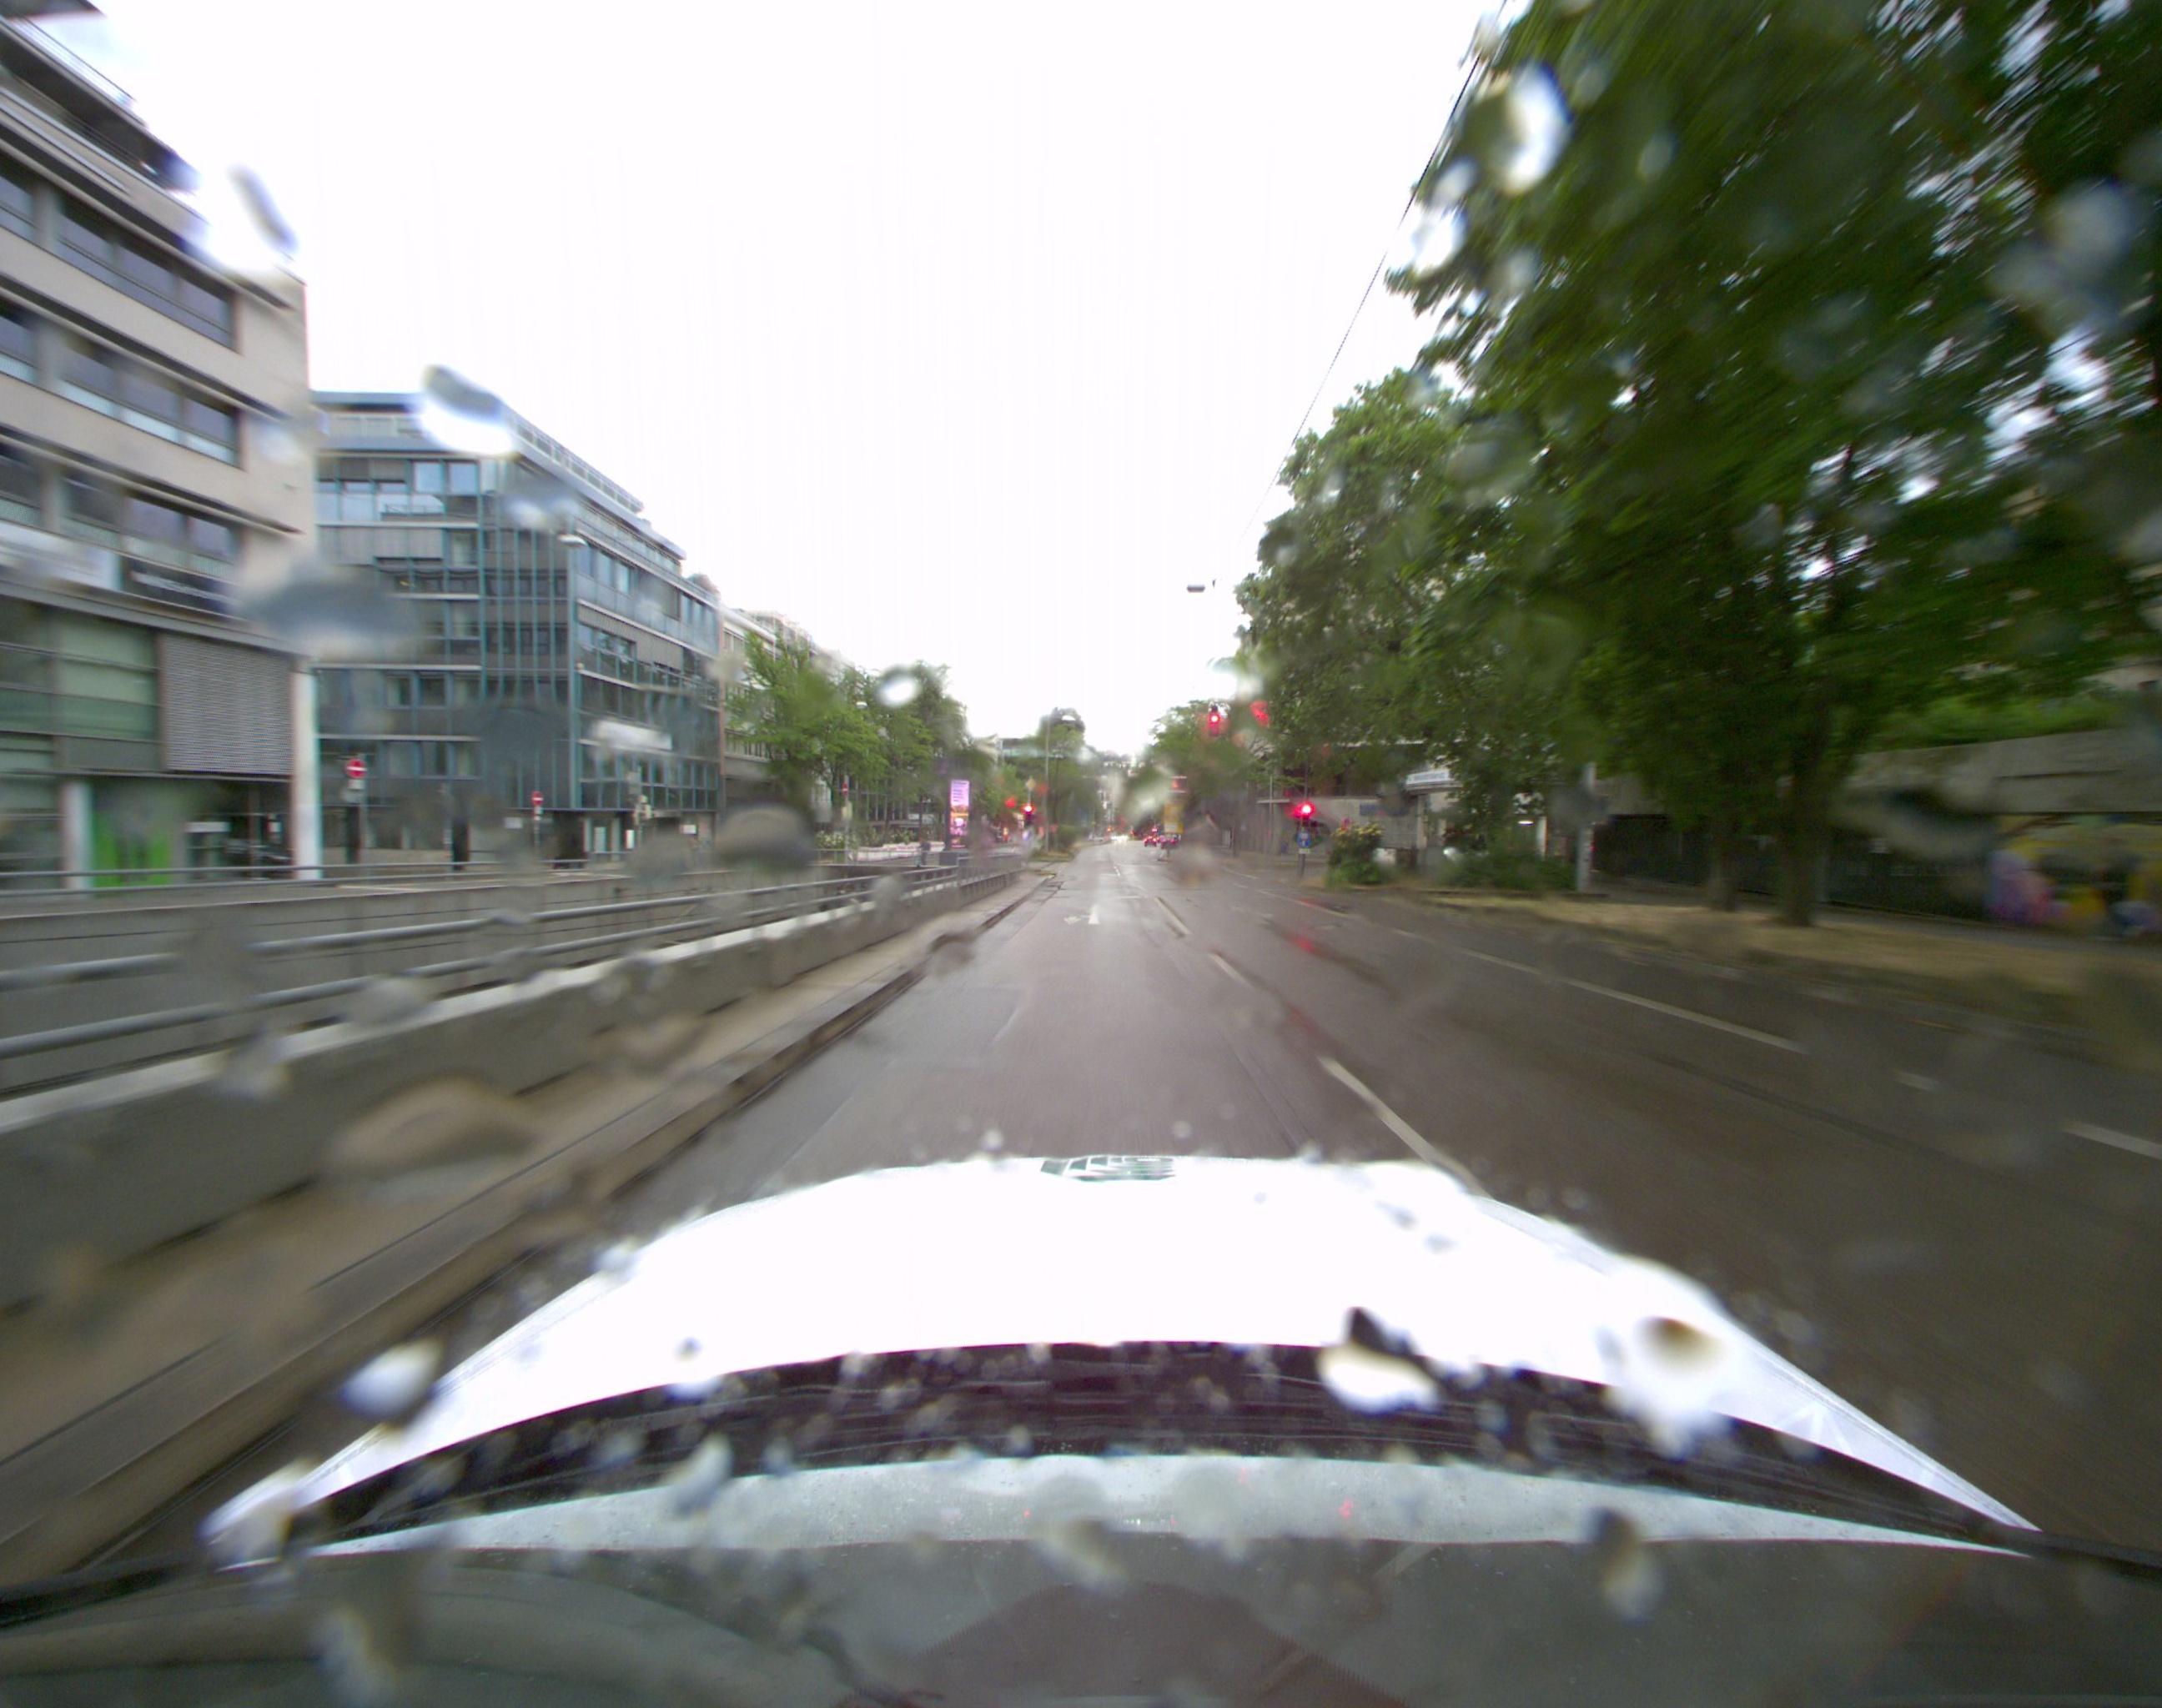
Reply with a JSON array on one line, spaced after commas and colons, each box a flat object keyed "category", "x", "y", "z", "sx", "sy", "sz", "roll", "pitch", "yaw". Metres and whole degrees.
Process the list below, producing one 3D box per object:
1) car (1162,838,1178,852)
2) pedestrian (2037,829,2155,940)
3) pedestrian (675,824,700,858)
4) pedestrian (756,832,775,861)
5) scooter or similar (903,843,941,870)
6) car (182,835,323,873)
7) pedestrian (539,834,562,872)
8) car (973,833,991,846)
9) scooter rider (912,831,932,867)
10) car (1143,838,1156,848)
[{"category": "car", "x": 11.474, "y": -1.134, "z": 105.386, "sx": 1.892, "sy": 1.683, "sz": 3.917, "roll": 2, "pitch": 1, "yaw": 5}, {"category": "pedestrian", "x": 17.719, "y": 0.508, "z": 14.245, "sx": 0.802, "sy": 1.864, "sz": 1.059, "roll": 0, "pitch": 0, "yaw": 11}, {"category": "pedestrian", "x": -22.672, "y": -0.747, "z": 46.947, "sx": 0.857, "sy": 1.868, "sz": 0.964, "roll": 2, "pitch": 1, "yaw": 20}, {"category": "pedestrian", "x": -21.130, "y": -0.509, "z": 54.571, "sx": 0.874, "sy": 1.868, "sz": 0.867, "roll": 2, "pitch": 1, "yaw": 0}, {"category": "scooter or similar", "x": -8.733, "y": 0.139, "z": 44.765, "sx": 1.938, "sy": 1.418, "sz": 0.549, "roll": 2, "pitch": 1, "yaw": 7}, {"category": "car", "x": -33.190, "y": -0.002, "z": 32.693, "sx": 3.868, "sy": 1.426, "sz": 1.812, "roll": 1, "pitch": 1, "yaw": 2}, {"category": "pedestrian", "x": -23.202, "y": -0.049, "z": 35.593, "sx": 0.662, "sy": 1.671, "sz": 0.488, "roll": 1, "pitch": 0, "yaw": 0}, {"category": "car", "x": -12.822, "y": -1.899, "z": 105.754, "sx": 1.774, "sy": 1.555, "sz": 3.895, "roll": 2, "pitch": 3, "yaw": 1}, {"category": "scooter rider", "x": -8.743, "y": -0.283, "z": 44.766, "sx": 0.815, "sy": 1.948, "sz": 0.813, "roll": 2, "pitch": 1, "yaw": 8}, {"category": "car", "x": 10.651, "y": -1.658, "z": 126.085, "sx": 1.739, "sy": 1.519, "sz": 4.108, "roll": 1, "pitch": 1, "yaw": 1}]
